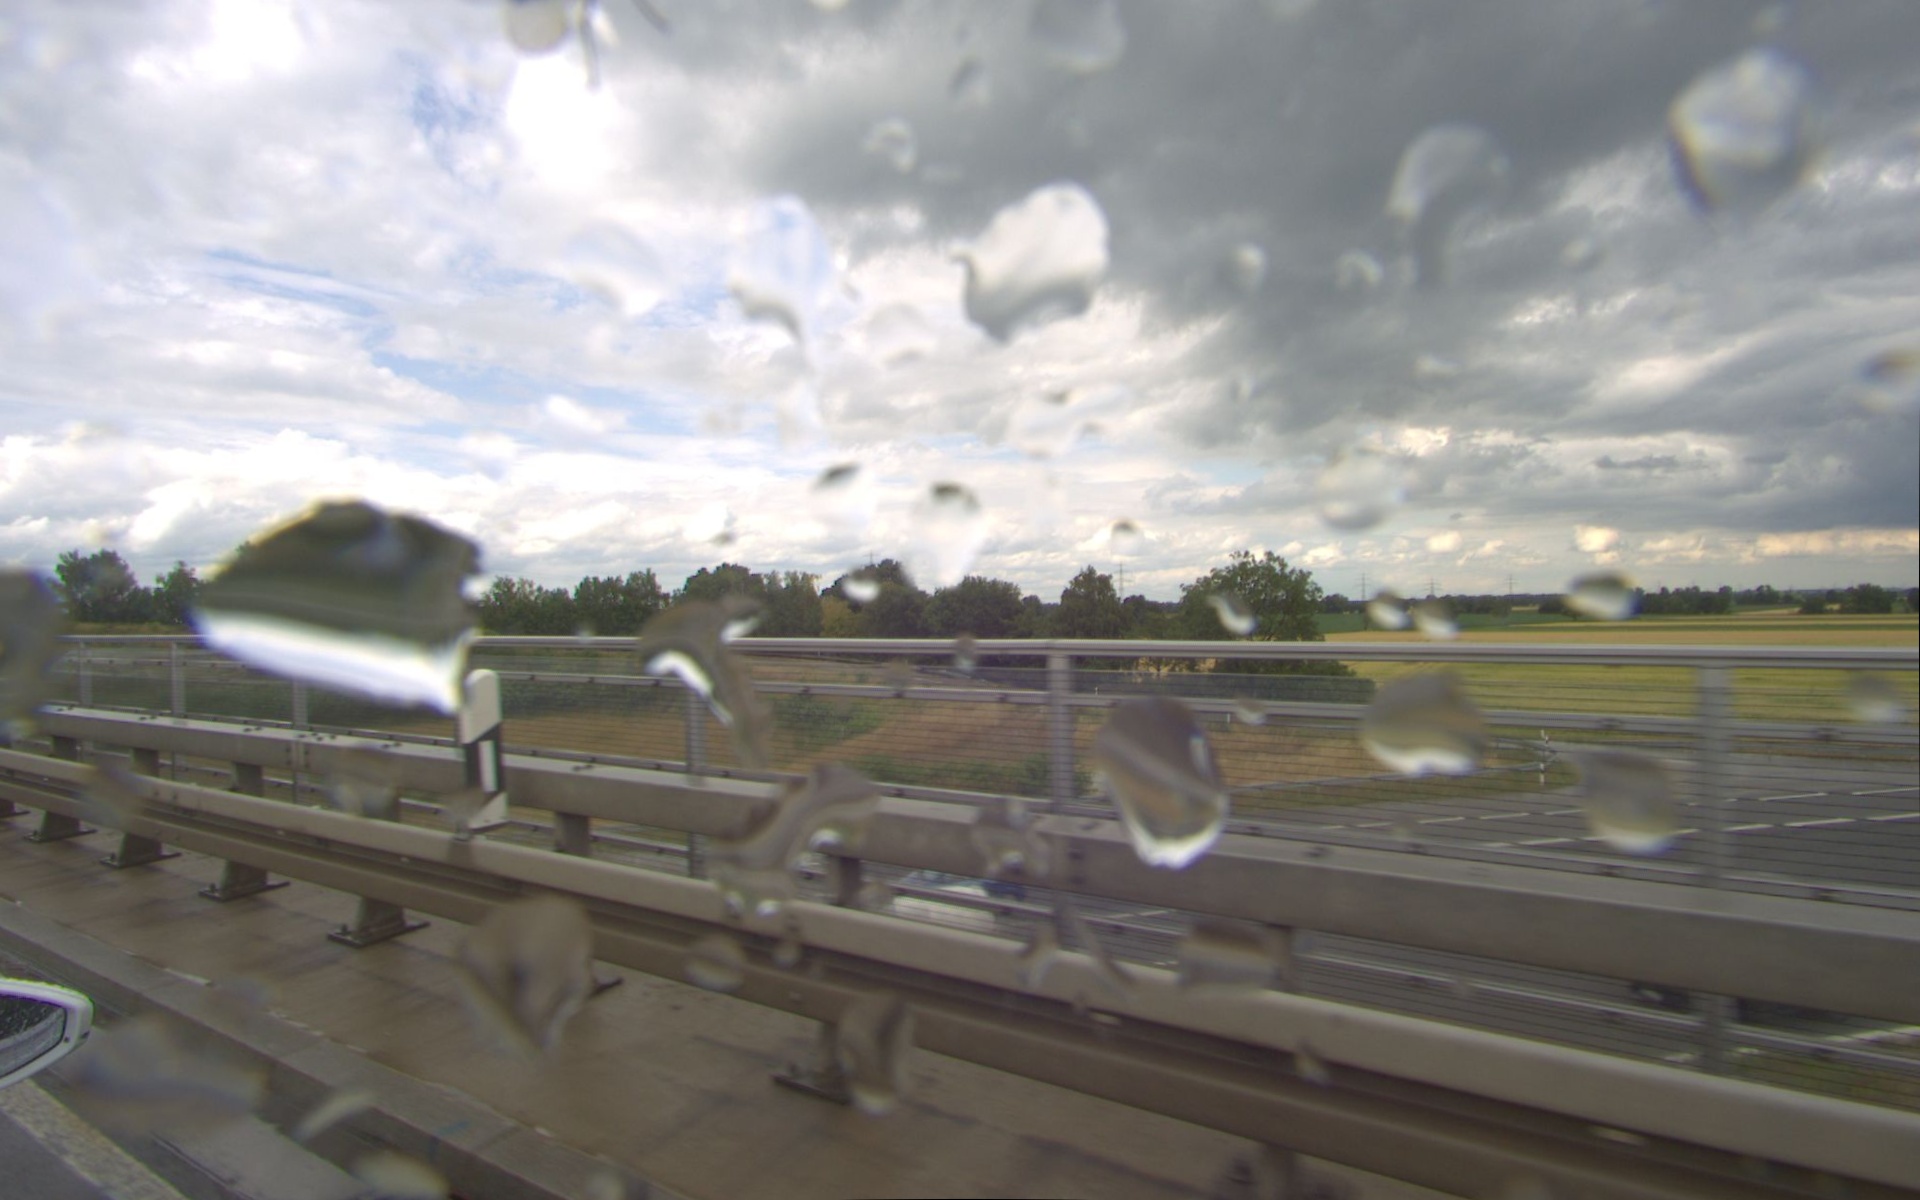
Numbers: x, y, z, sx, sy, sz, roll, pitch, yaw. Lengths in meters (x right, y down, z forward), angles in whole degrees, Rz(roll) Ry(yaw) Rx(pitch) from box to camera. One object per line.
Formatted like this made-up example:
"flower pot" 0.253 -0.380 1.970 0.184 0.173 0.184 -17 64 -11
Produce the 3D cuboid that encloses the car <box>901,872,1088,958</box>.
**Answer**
"car" 0.855 8.166 26.144 4.635 1.505 1.814 0 -2 -10

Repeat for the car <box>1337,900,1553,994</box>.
"car" 11.993 8.548 24.859 4.635 1.505 1.814 0 -2 -10
